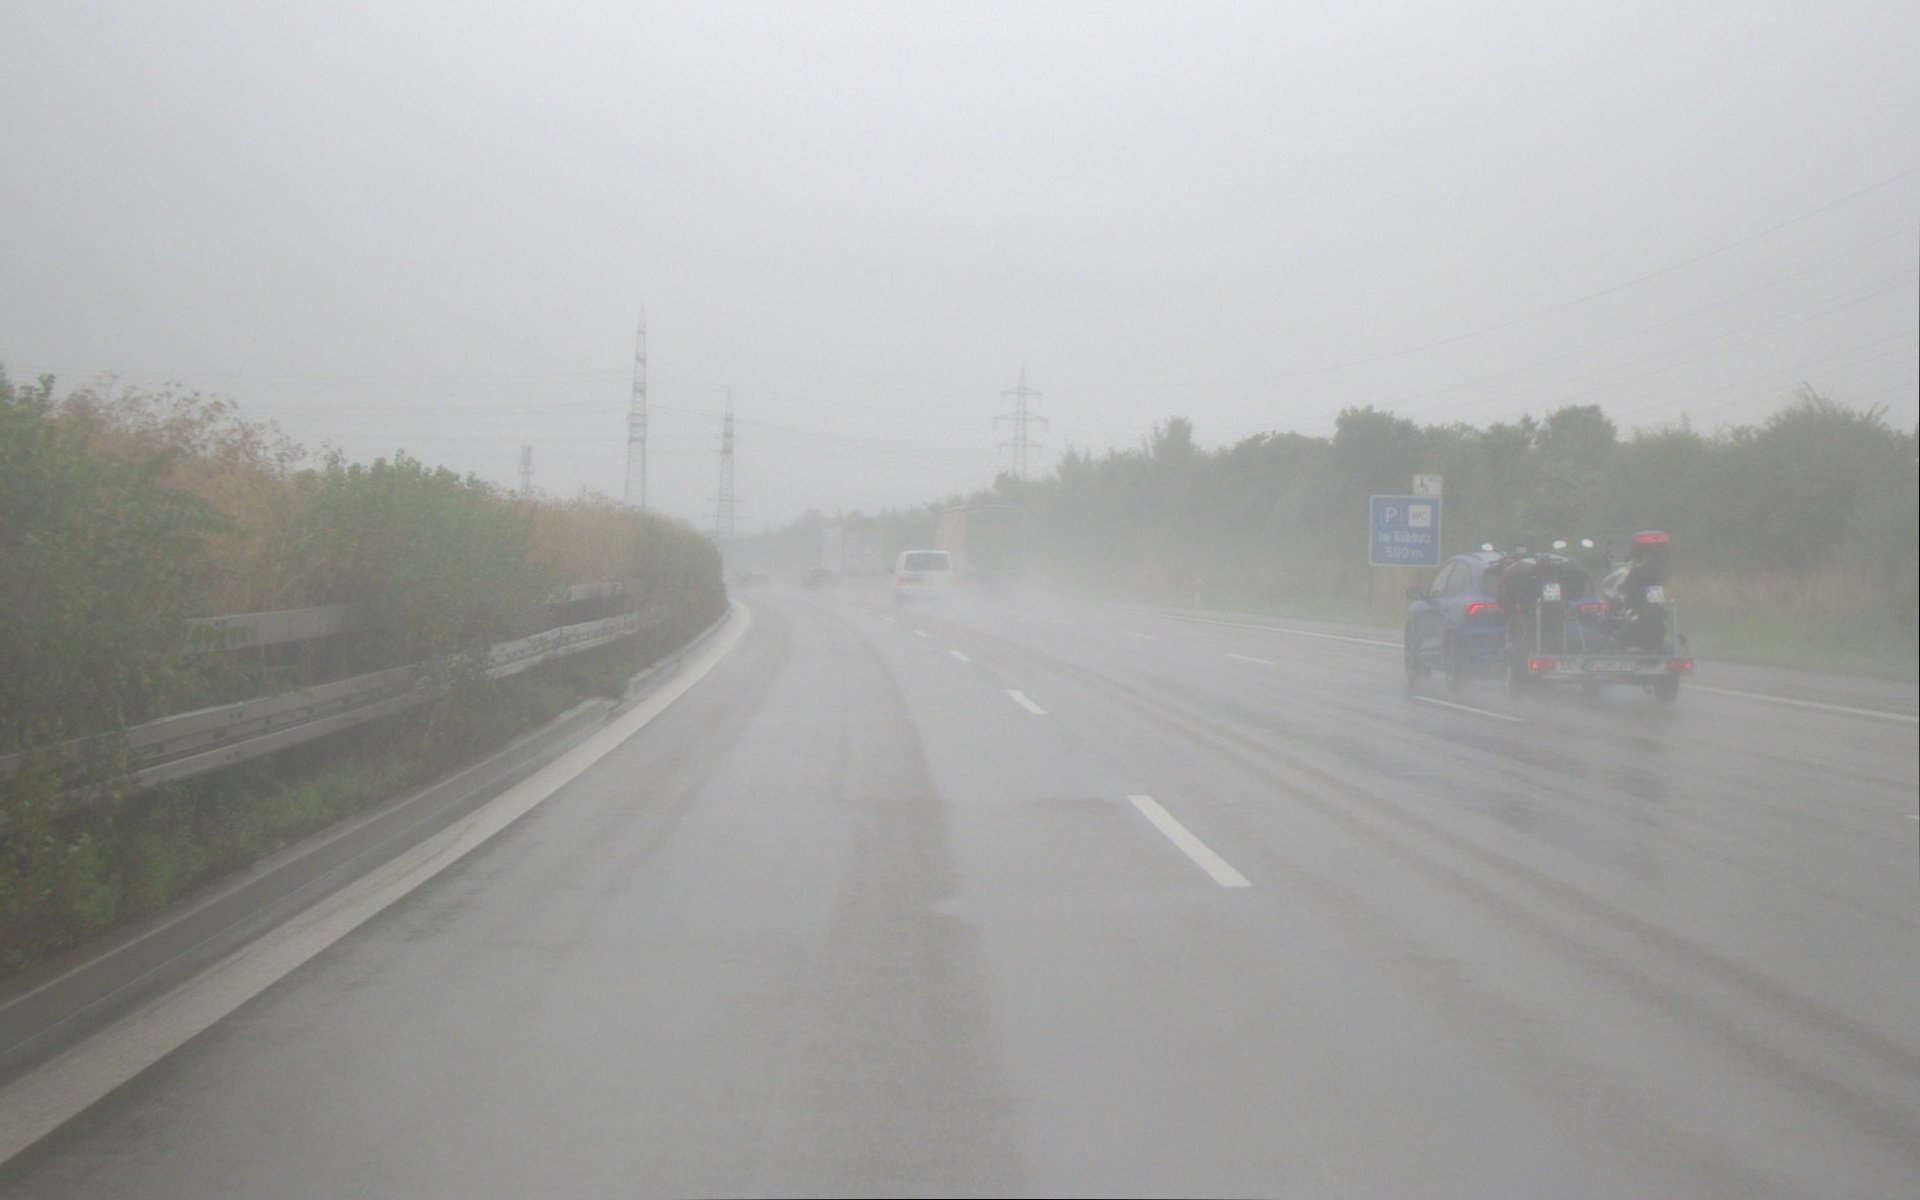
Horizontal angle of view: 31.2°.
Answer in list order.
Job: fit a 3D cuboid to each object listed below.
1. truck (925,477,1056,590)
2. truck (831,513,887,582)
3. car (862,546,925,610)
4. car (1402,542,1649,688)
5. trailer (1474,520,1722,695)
[{"bbox_3d":[1.174,-2.744,149.199,4.188,4.614,16.107,0,0,-5],"label":"truck"},{"bbox_3d":[-6.521,-3.366,219.717,3.232,4.297,8.838,0,1,-4],"label":"truck"},{"bbox_3d":[-2.167,-0.723,111.562,1.993,2.007,4.000,0,1,-2],"label":"car"},{"bbox_3d":[6.604,0.165,40.683,1.993,1.613,4.993,0,0,-1],"label":"car"},{"bbox_3d":[6.737,0.075,36.617,1.979,1.779,3.189,0,0,-1],"label":"trailer"}]
